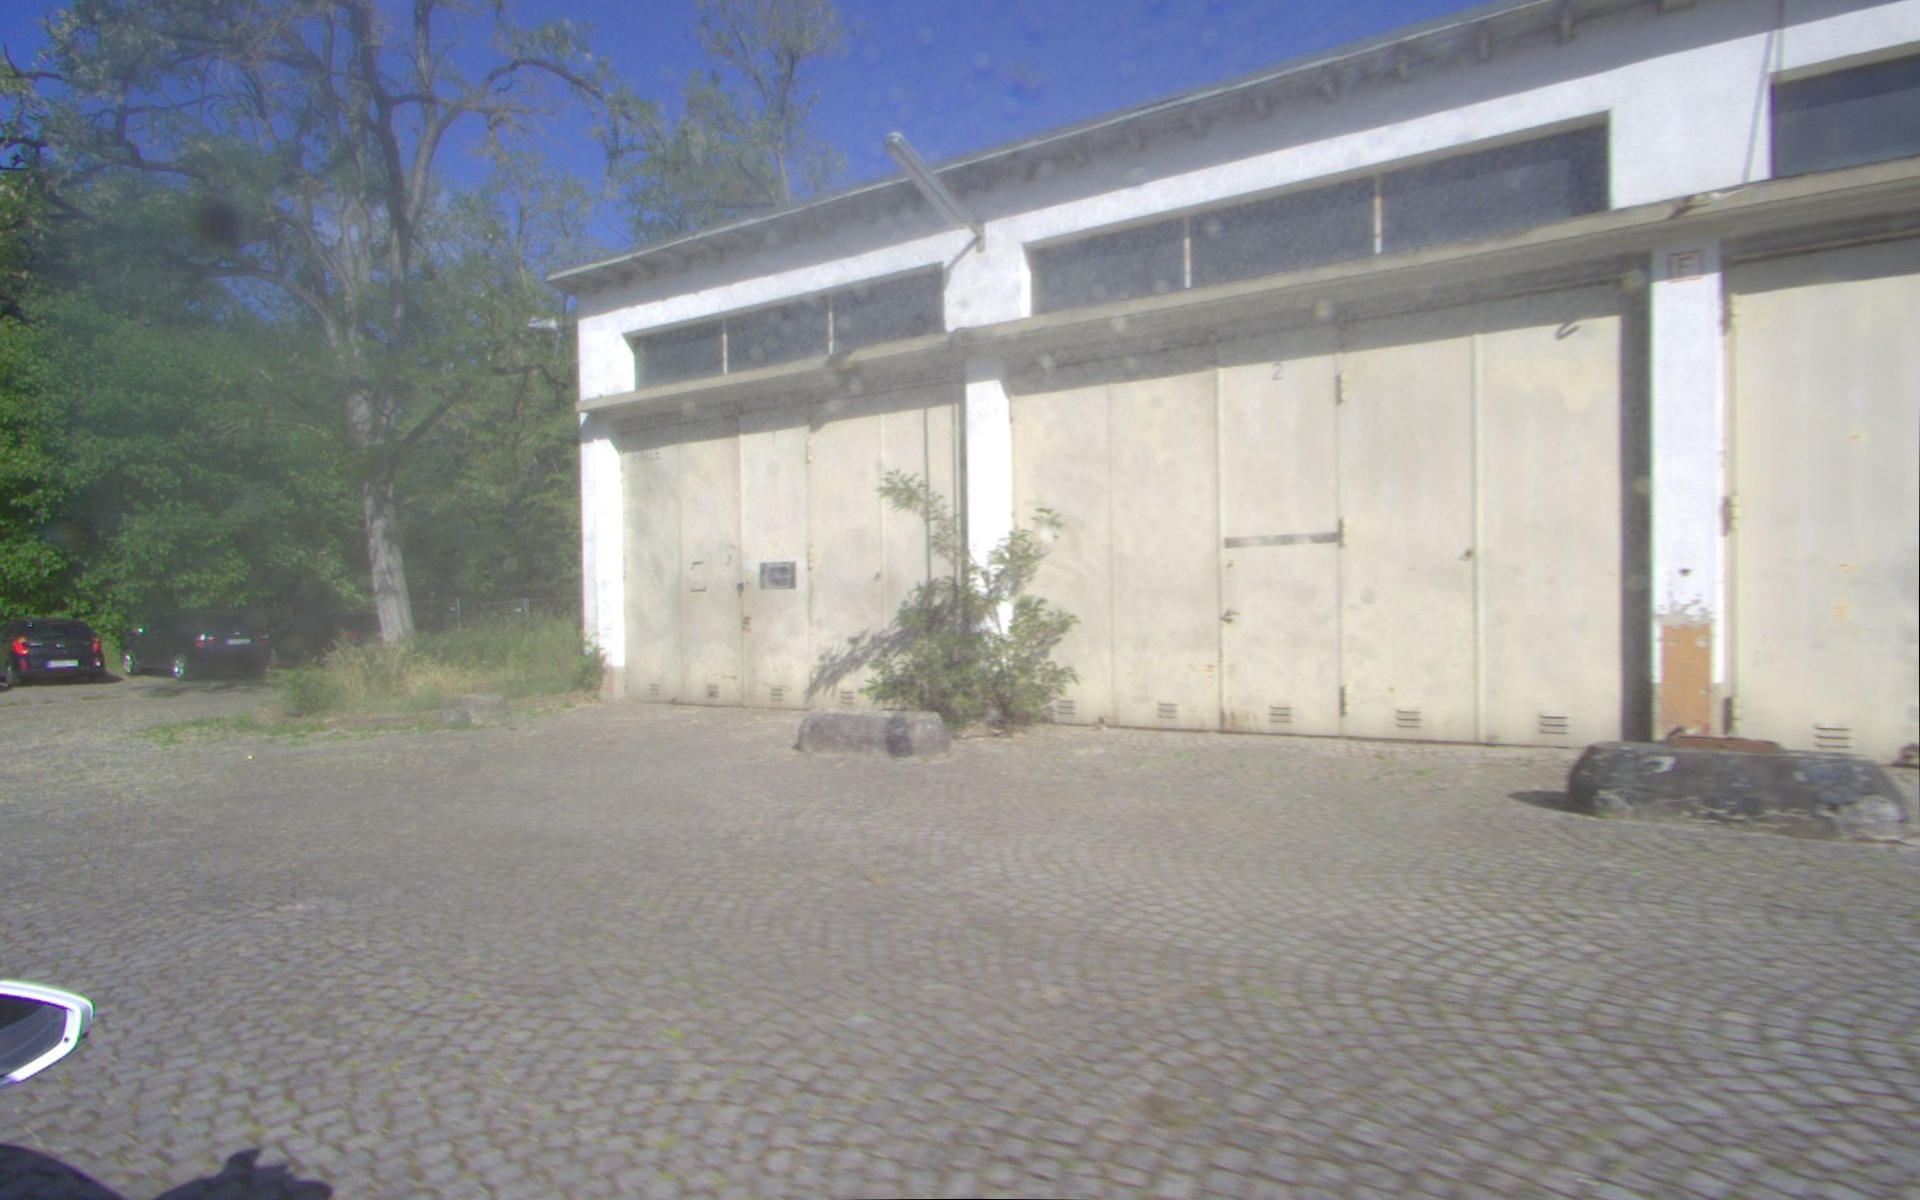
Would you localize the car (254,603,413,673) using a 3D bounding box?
[{"bbox_3d":[-17.367,0.980,27.739,4.203,1.611,1.823,3,2,27],"label":"car"}]

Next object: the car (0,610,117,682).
[{"bbox_3d":[-20.941,0.993,22.931,3.676,1.470,1.733,1,0,37],"label":"car"}]

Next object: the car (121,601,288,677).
[{"bbox_3d":[-18.977,0.923,25.130,4.208,1.653,1.872,2,0,30],"label":"car"}]
